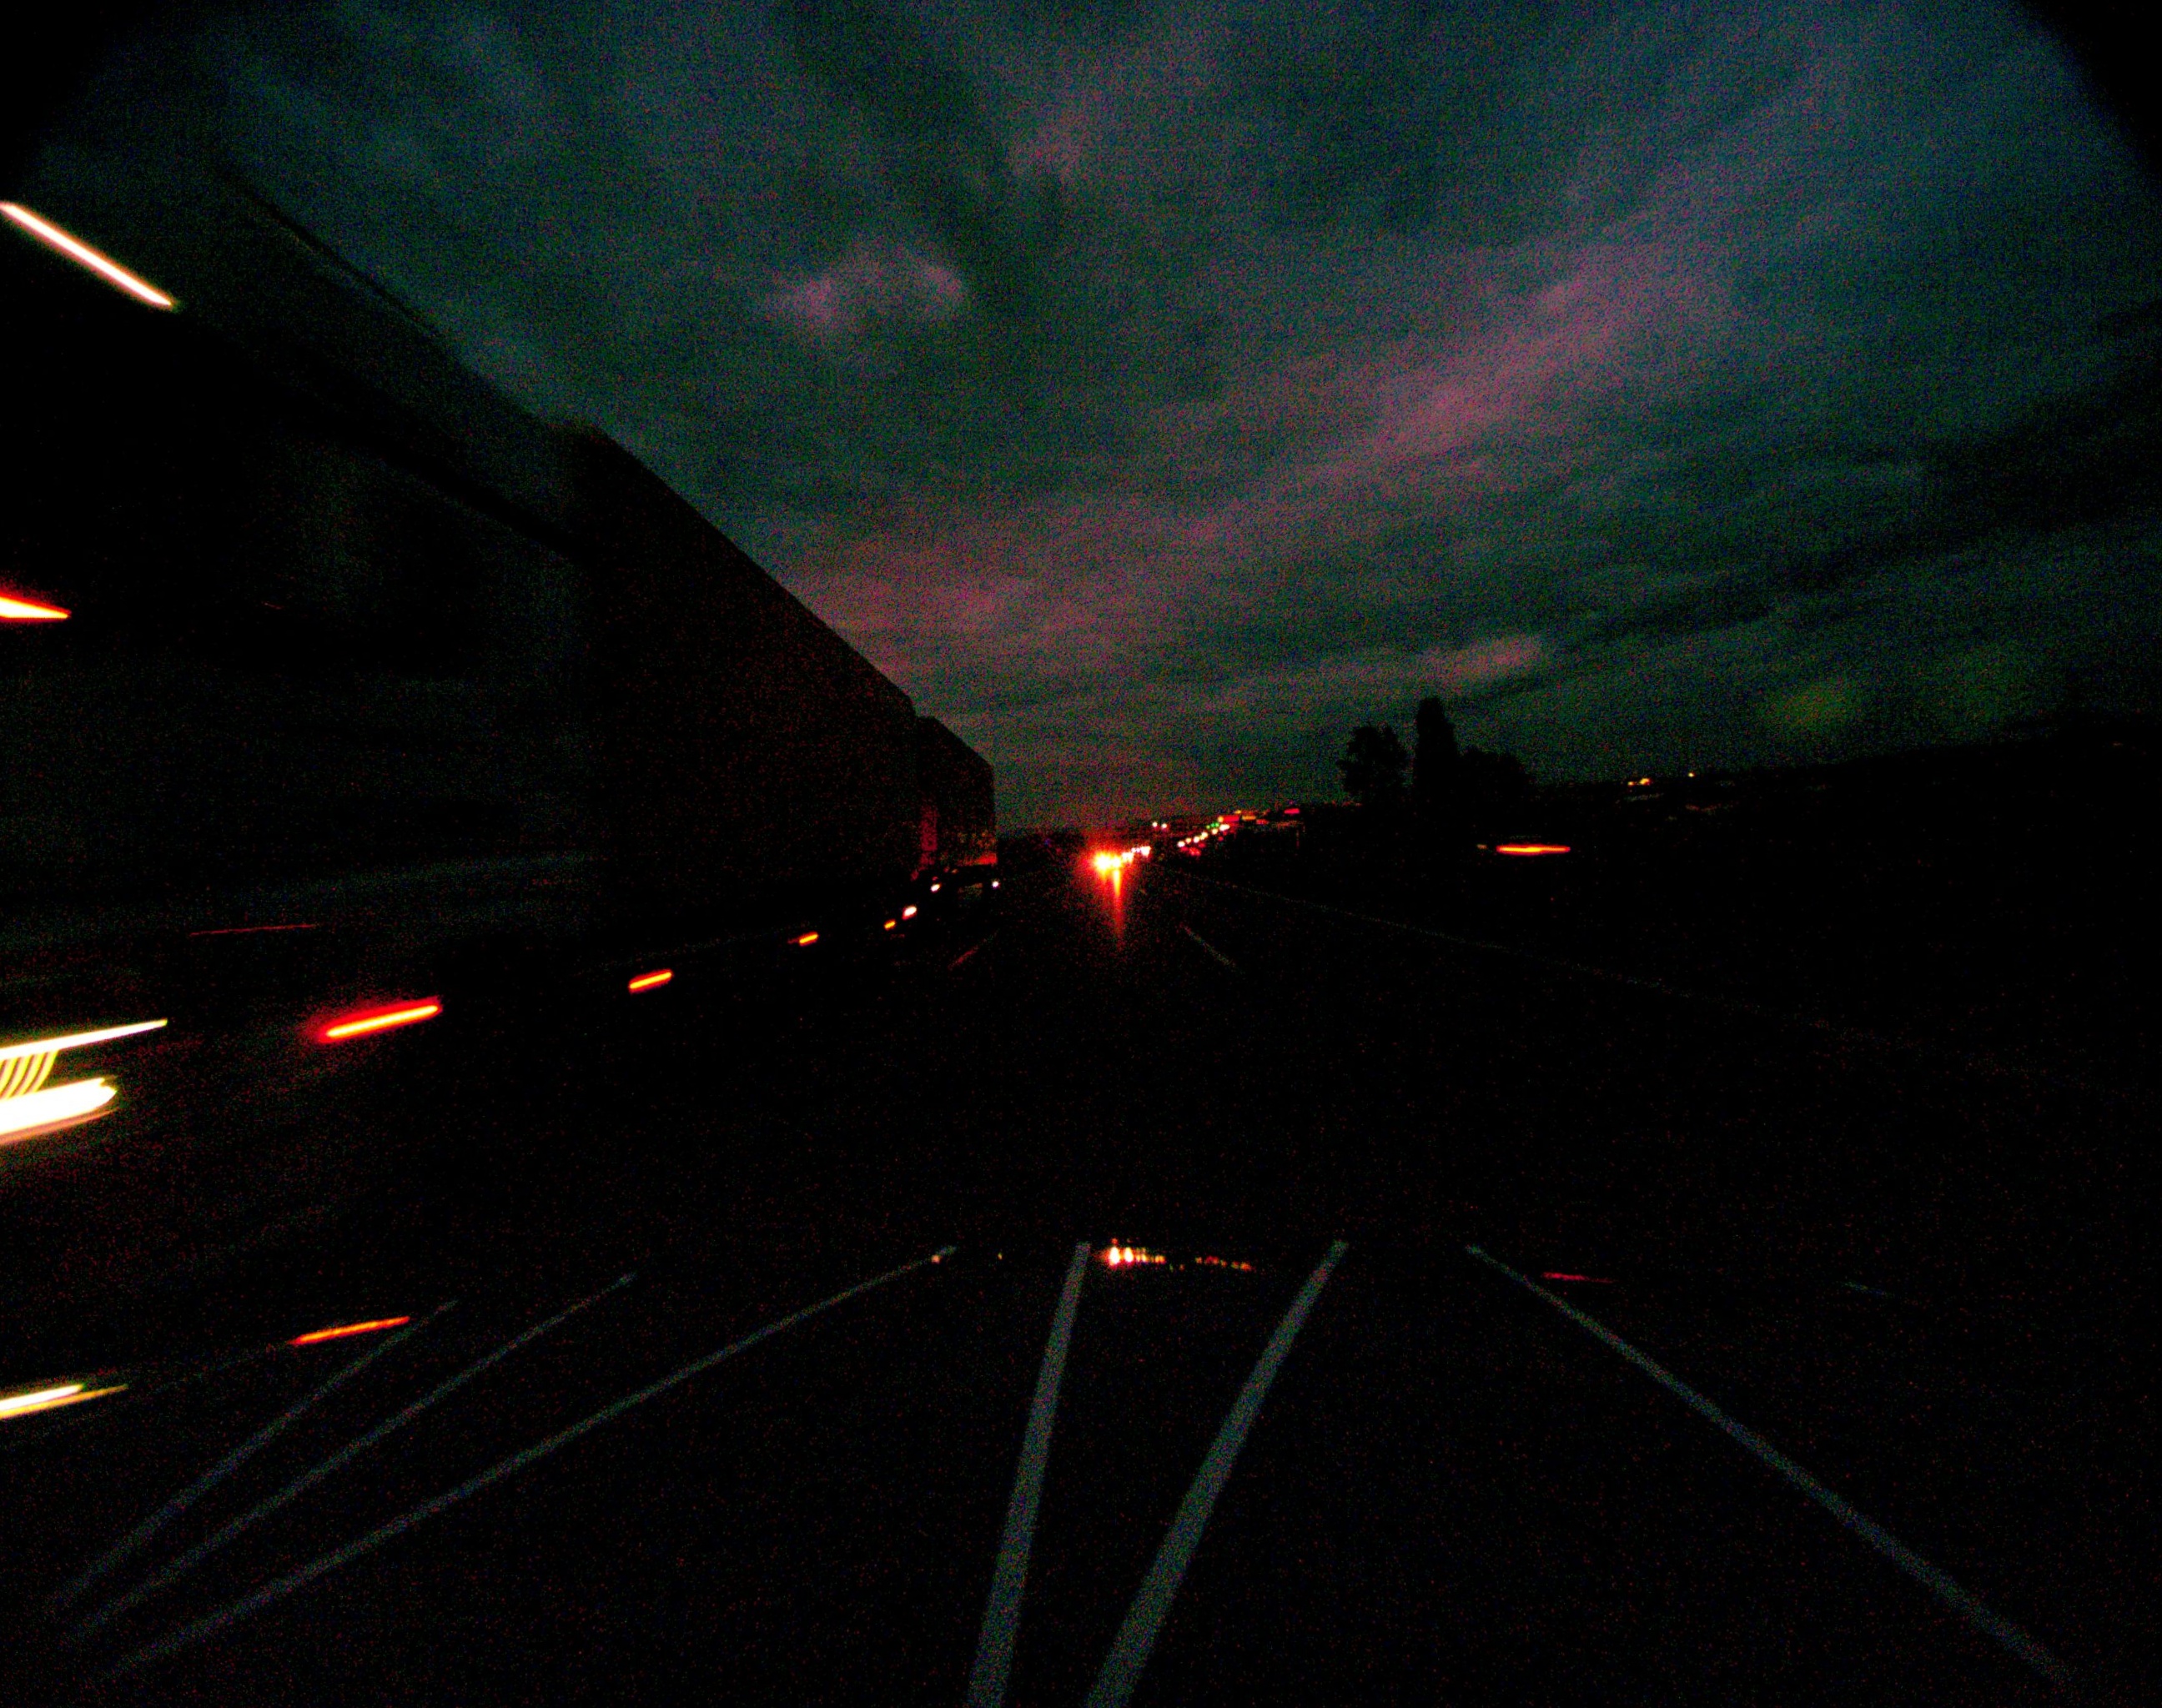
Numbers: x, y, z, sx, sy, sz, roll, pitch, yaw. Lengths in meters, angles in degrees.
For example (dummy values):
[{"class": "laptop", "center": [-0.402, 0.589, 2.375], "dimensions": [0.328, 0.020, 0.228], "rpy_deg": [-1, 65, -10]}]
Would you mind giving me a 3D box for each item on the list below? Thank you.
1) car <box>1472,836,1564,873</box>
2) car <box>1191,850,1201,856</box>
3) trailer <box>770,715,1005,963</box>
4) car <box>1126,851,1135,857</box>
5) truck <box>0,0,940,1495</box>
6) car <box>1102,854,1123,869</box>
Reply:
[{"class": "car", "center": [21.392, 0.019, 37.449], "dimensions": [1.998, 1.615, 4.845], "rpy_deg": [-2, 0, 4]}, {"class": "car", "center": [30.104, -0.342, 198.793], "dimensions": [1.998, 1.395, 4.798], "rpy_deg": [-2, 0, 0]}, {"class": "trailer", "center": [-3.660, -0.242, 17.070], "dimensions": [2.728, 4.047, 8.831], "rpy_deg": [-2, 0, 1]}, {"class": "car", "center": [12.746, 0.028, 195.513], "dimensions": [1.997, 1.342, 4.177], "rpy_deg": [-4, 1, 8]}, {"class": "truck", "center": [-3.844, -0.249, 7.323], "dimensions": [2.697, 4.047, 10.520], "rpy_deg": [-2, 0, 1]}, {"class": "car", "center": [3.086, 0.695, 75.357], "dimensions": [1.998, 1.342, 4.174], "rpy_deg": [0, 2, 2]}]
